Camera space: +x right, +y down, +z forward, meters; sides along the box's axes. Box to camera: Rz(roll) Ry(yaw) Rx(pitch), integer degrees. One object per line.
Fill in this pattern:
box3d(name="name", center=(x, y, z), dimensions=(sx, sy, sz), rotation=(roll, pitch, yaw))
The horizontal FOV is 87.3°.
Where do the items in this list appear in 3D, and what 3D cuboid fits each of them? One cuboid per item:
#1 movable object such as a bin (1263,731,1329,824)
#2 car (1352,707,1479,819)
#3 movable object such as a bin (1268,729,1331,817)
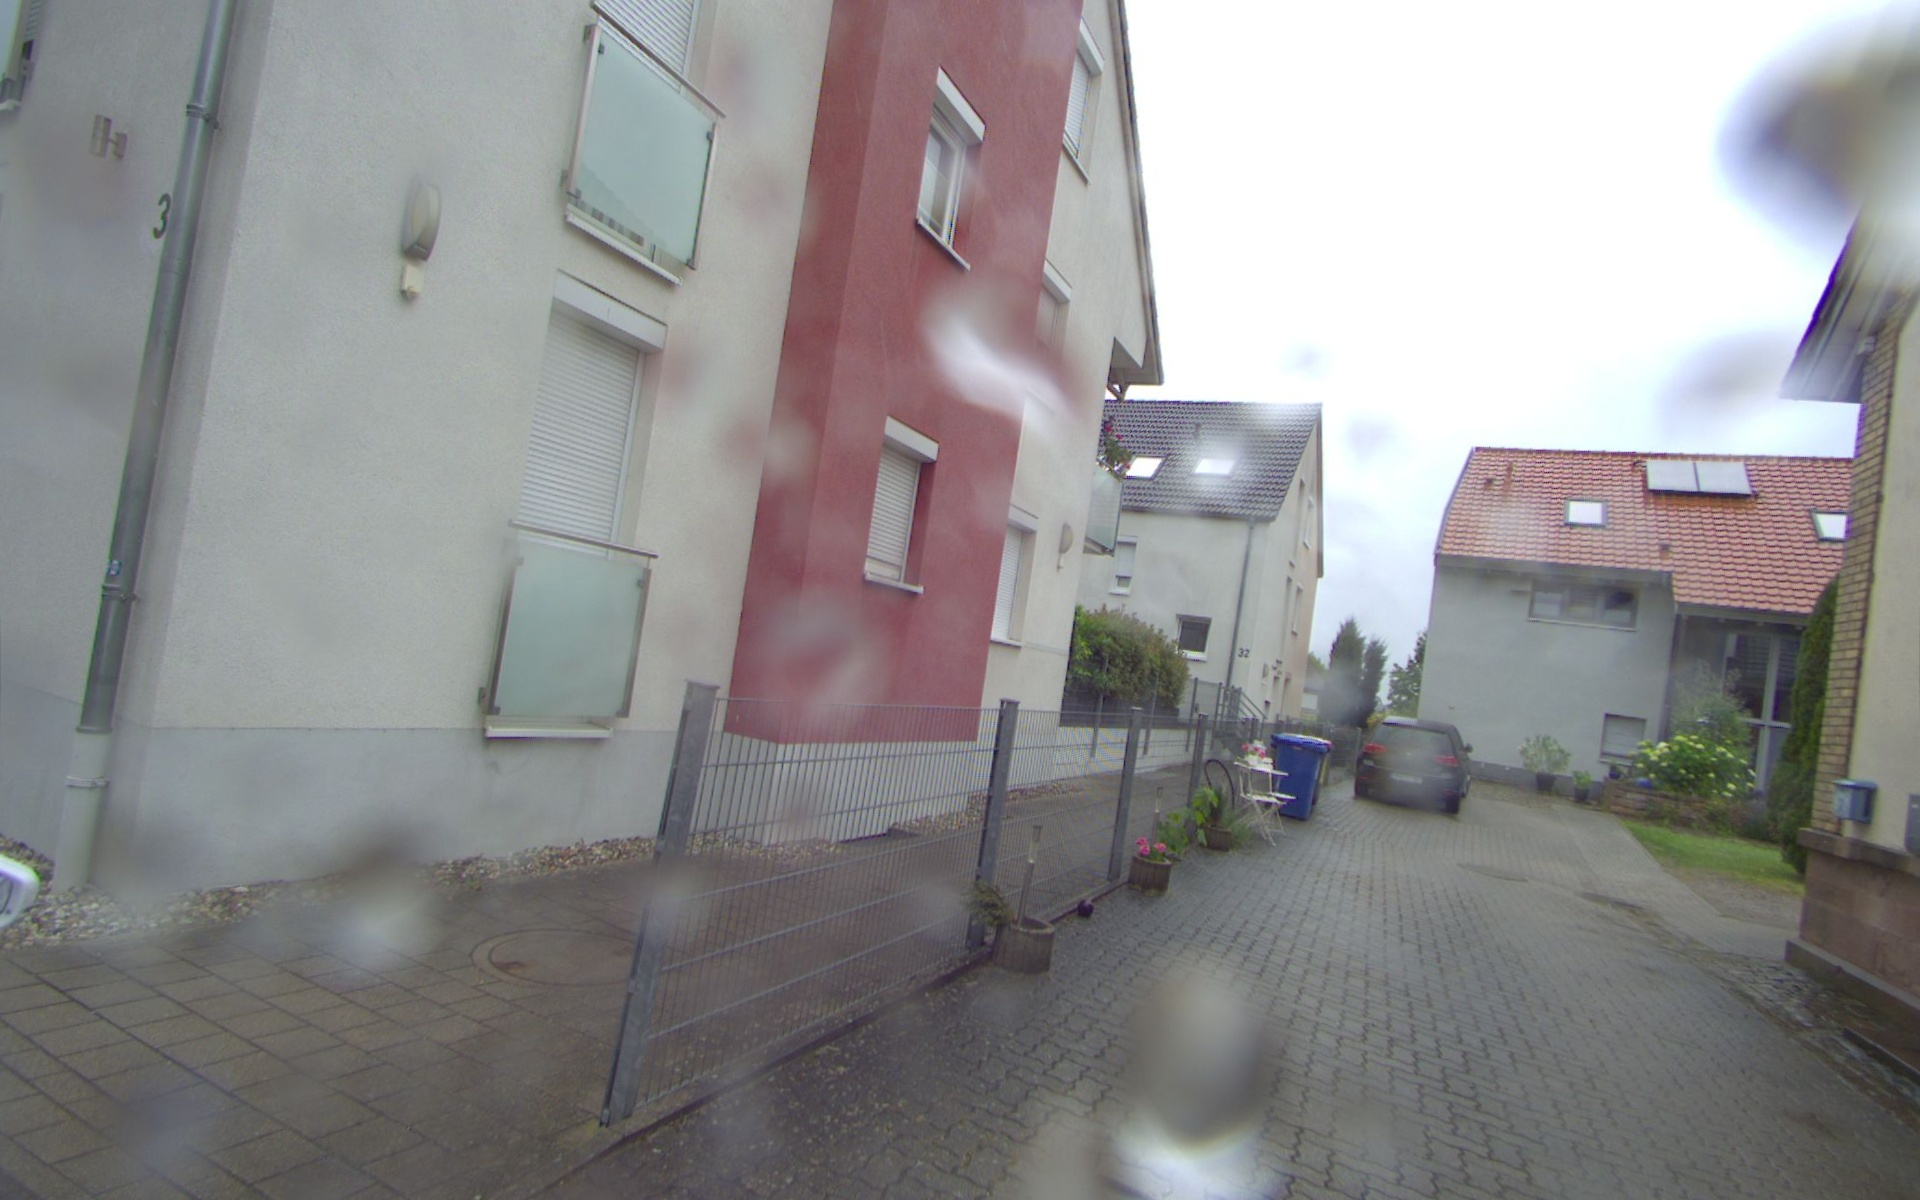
box3d(name="movable object such as a bin", center=(4.499, 2.357, 13.460), dimensions=(0.675, 1.108, 0.536), rotation=(7, -2, 25))
box3d(name="car", center=(8.550, 2.915, 18.699), dimensions=(1.656, 1.491, 3.993), rotation=(7, 0, 30))
box3d(name="movable object such as a bin", center=(4.816, 2.440, 14.257), dimensions=(0.675, 1.108, 0.536), rotation=(7, -2, 25))
